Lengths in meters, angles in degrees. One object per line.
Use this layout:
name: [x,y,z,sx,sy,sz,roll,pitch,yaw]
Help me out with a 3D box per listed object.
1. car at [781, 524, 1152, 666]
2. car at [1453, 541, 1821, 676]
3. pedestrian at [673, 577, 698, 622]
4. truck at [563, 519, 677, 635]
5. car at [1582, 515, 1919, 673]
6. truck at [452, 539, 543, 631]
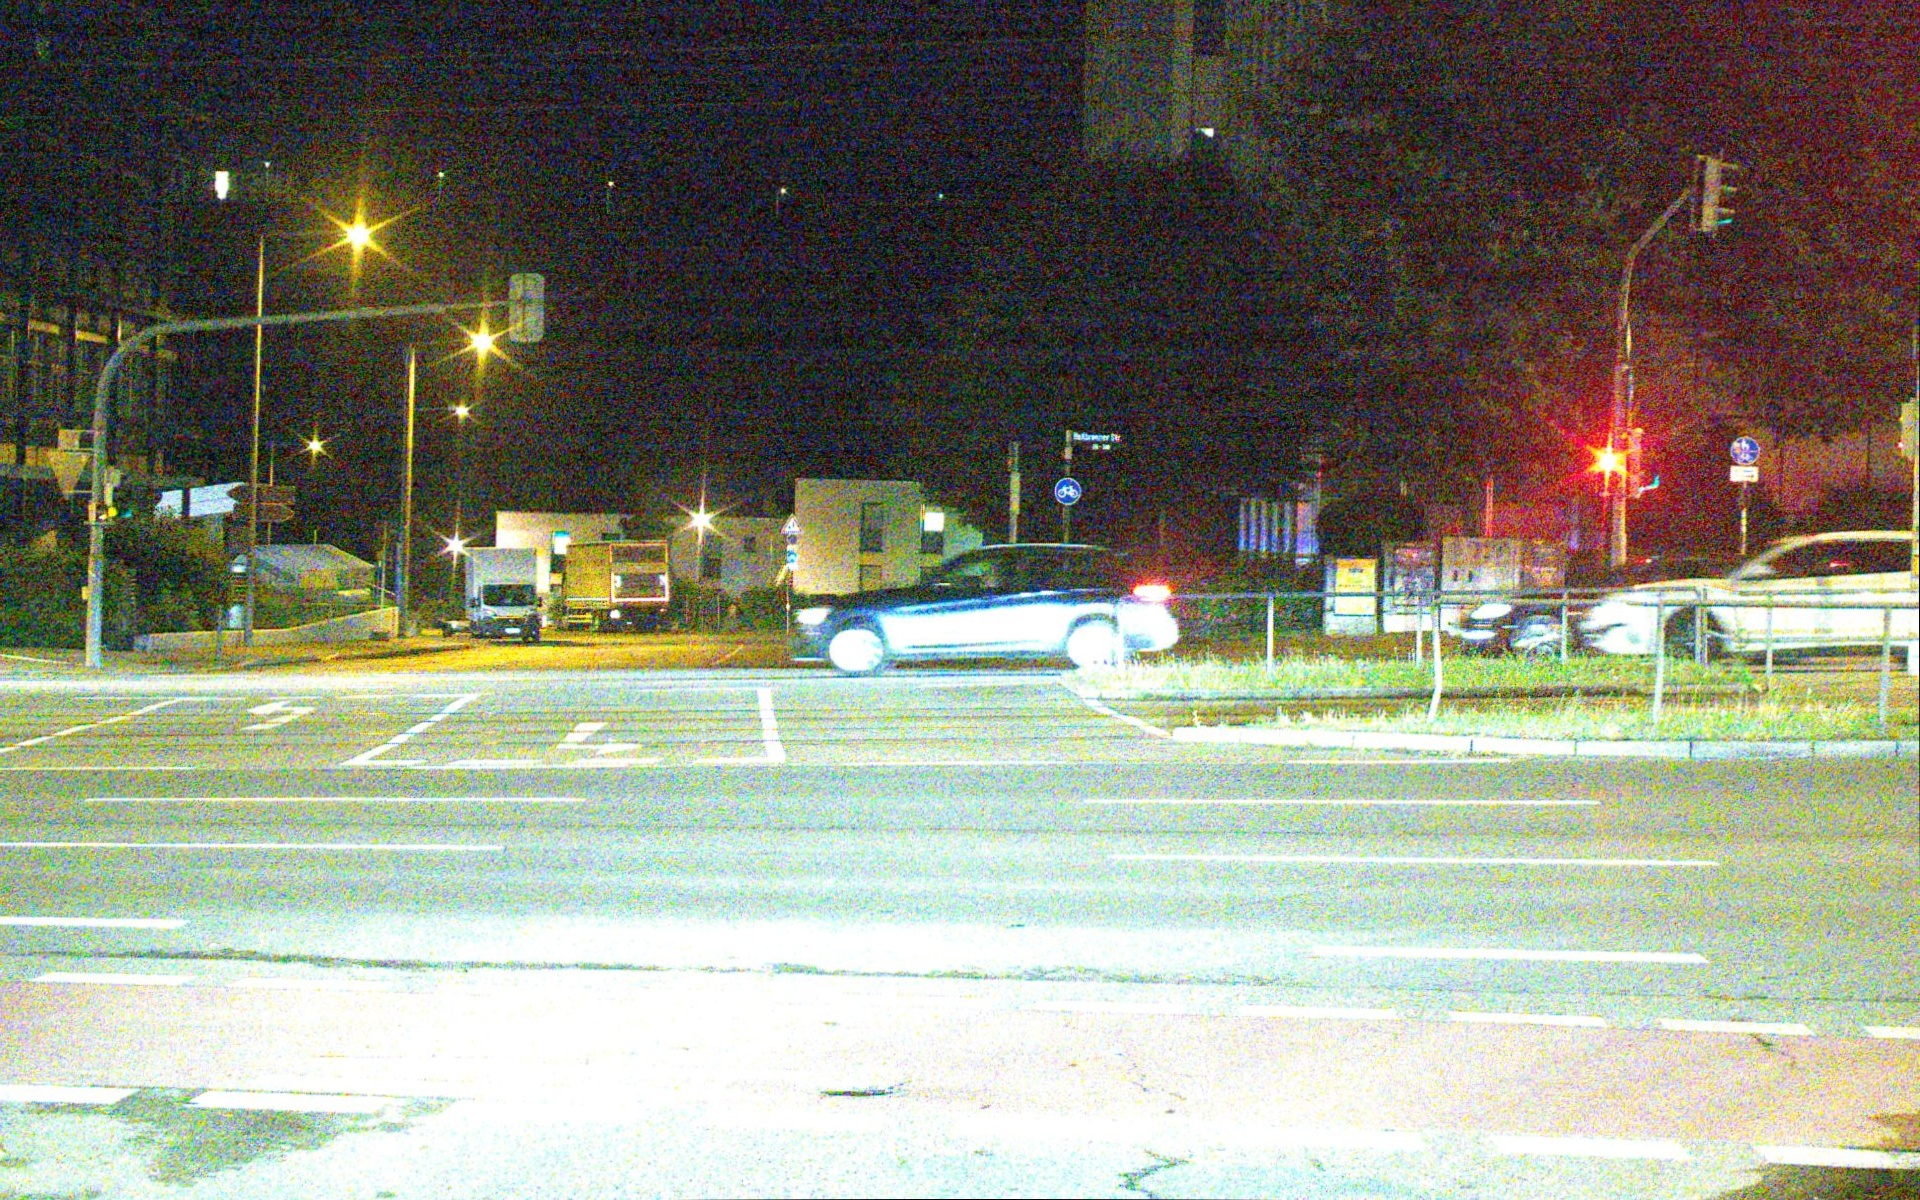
car: [0.122,-0.058,40.494,4.234,1.579,1.803,1,0,4]
car: [8.381,0.107,42.826,4.234,1.579,1.887,1,0,2]
pedestrian: [-11.777,-0.040,147.532,0.849,1.905,1.007,1,0,-18]
truck: [-14.781,-0.995,148.849,3.359,4.826,7.908,1,0,-17]
car: [9.143,-0.088,37.005,4.570,1.579,1.847,-1,2,2]
truck: [-16.136,-0.524,119.703,2.417,3.078,6.439,1,0,-14]
